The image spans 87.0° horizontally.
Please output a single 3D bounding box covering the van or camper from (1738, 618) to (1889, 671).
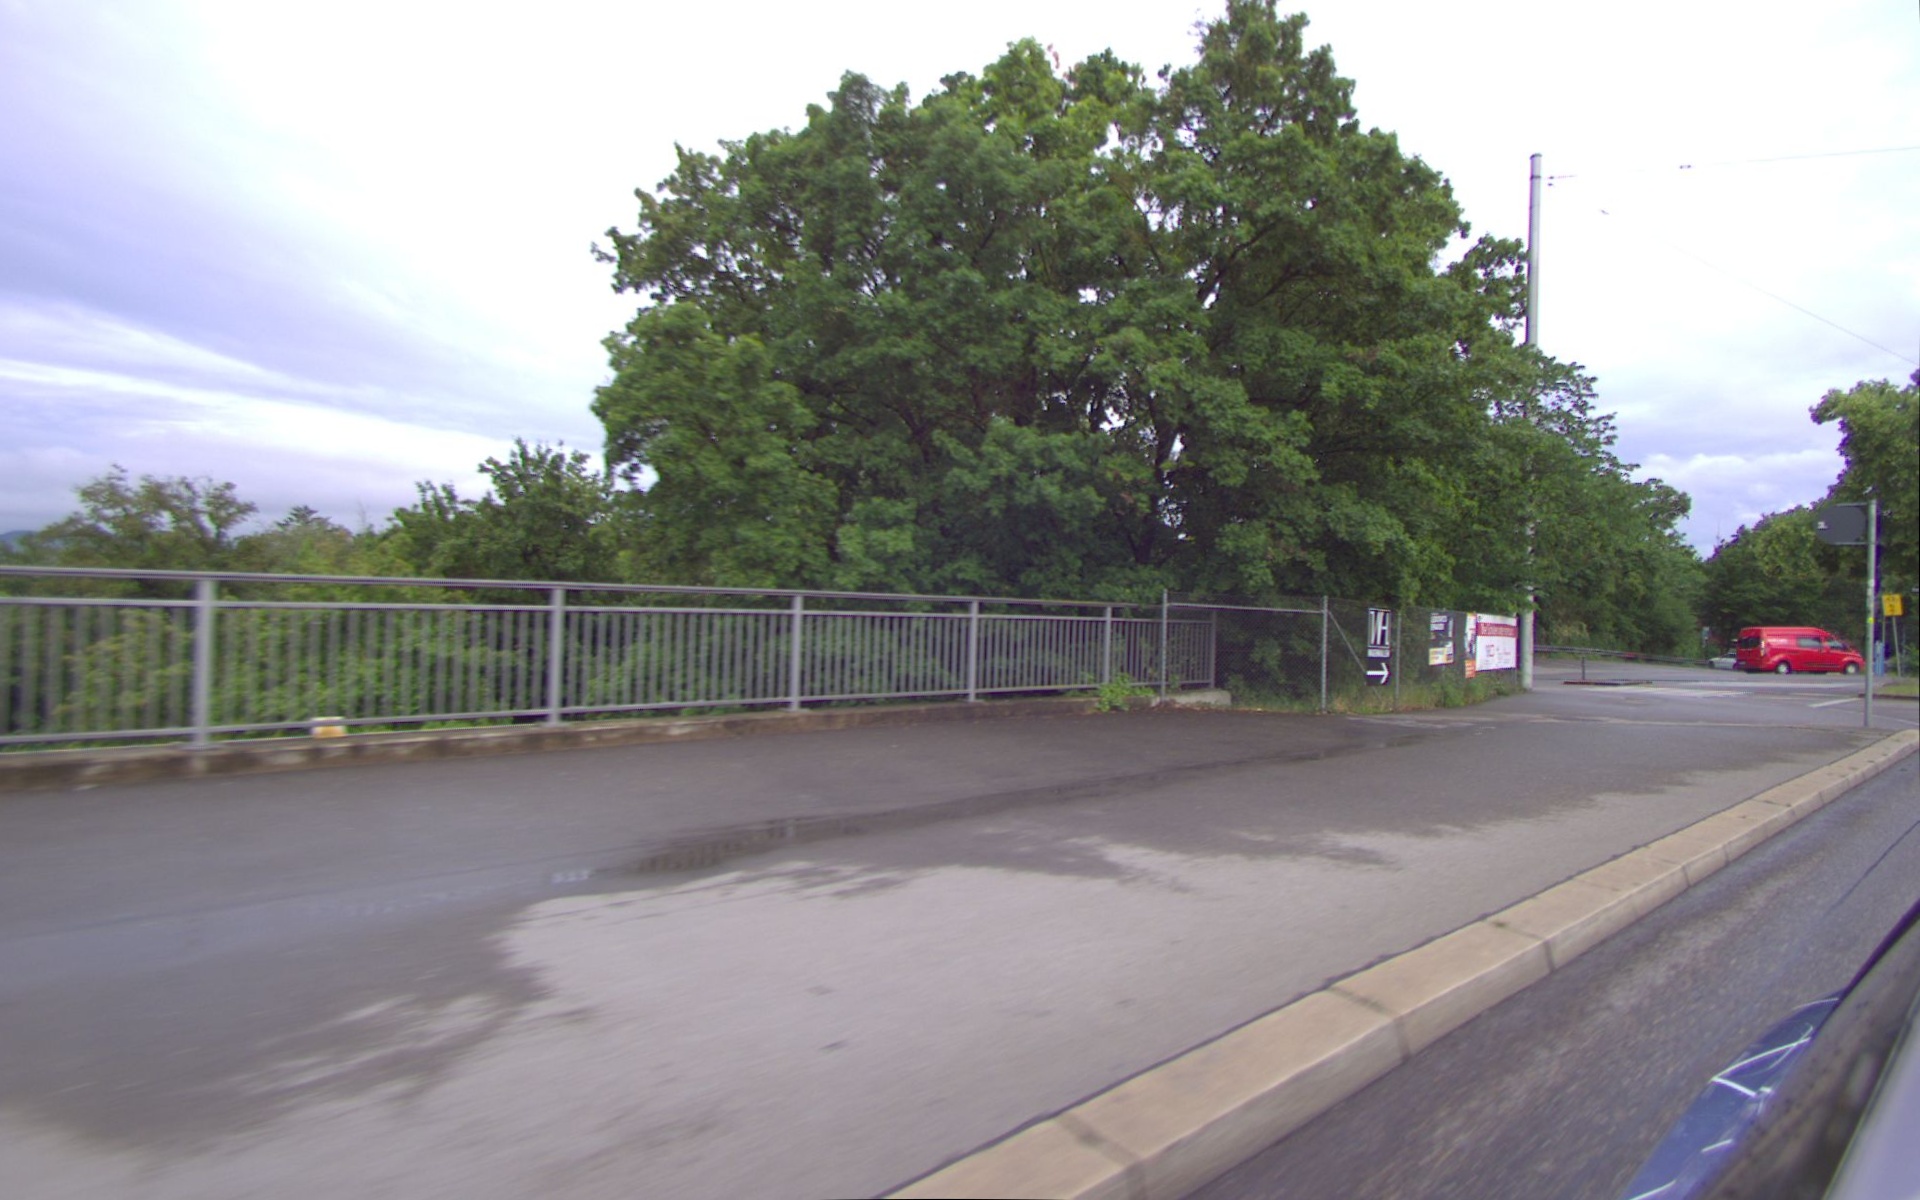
[{"bbox_3d":[41.041,2.164,48.766,5.292,2.438,2.039,0,-5,2],"label":"van or camper"}]
